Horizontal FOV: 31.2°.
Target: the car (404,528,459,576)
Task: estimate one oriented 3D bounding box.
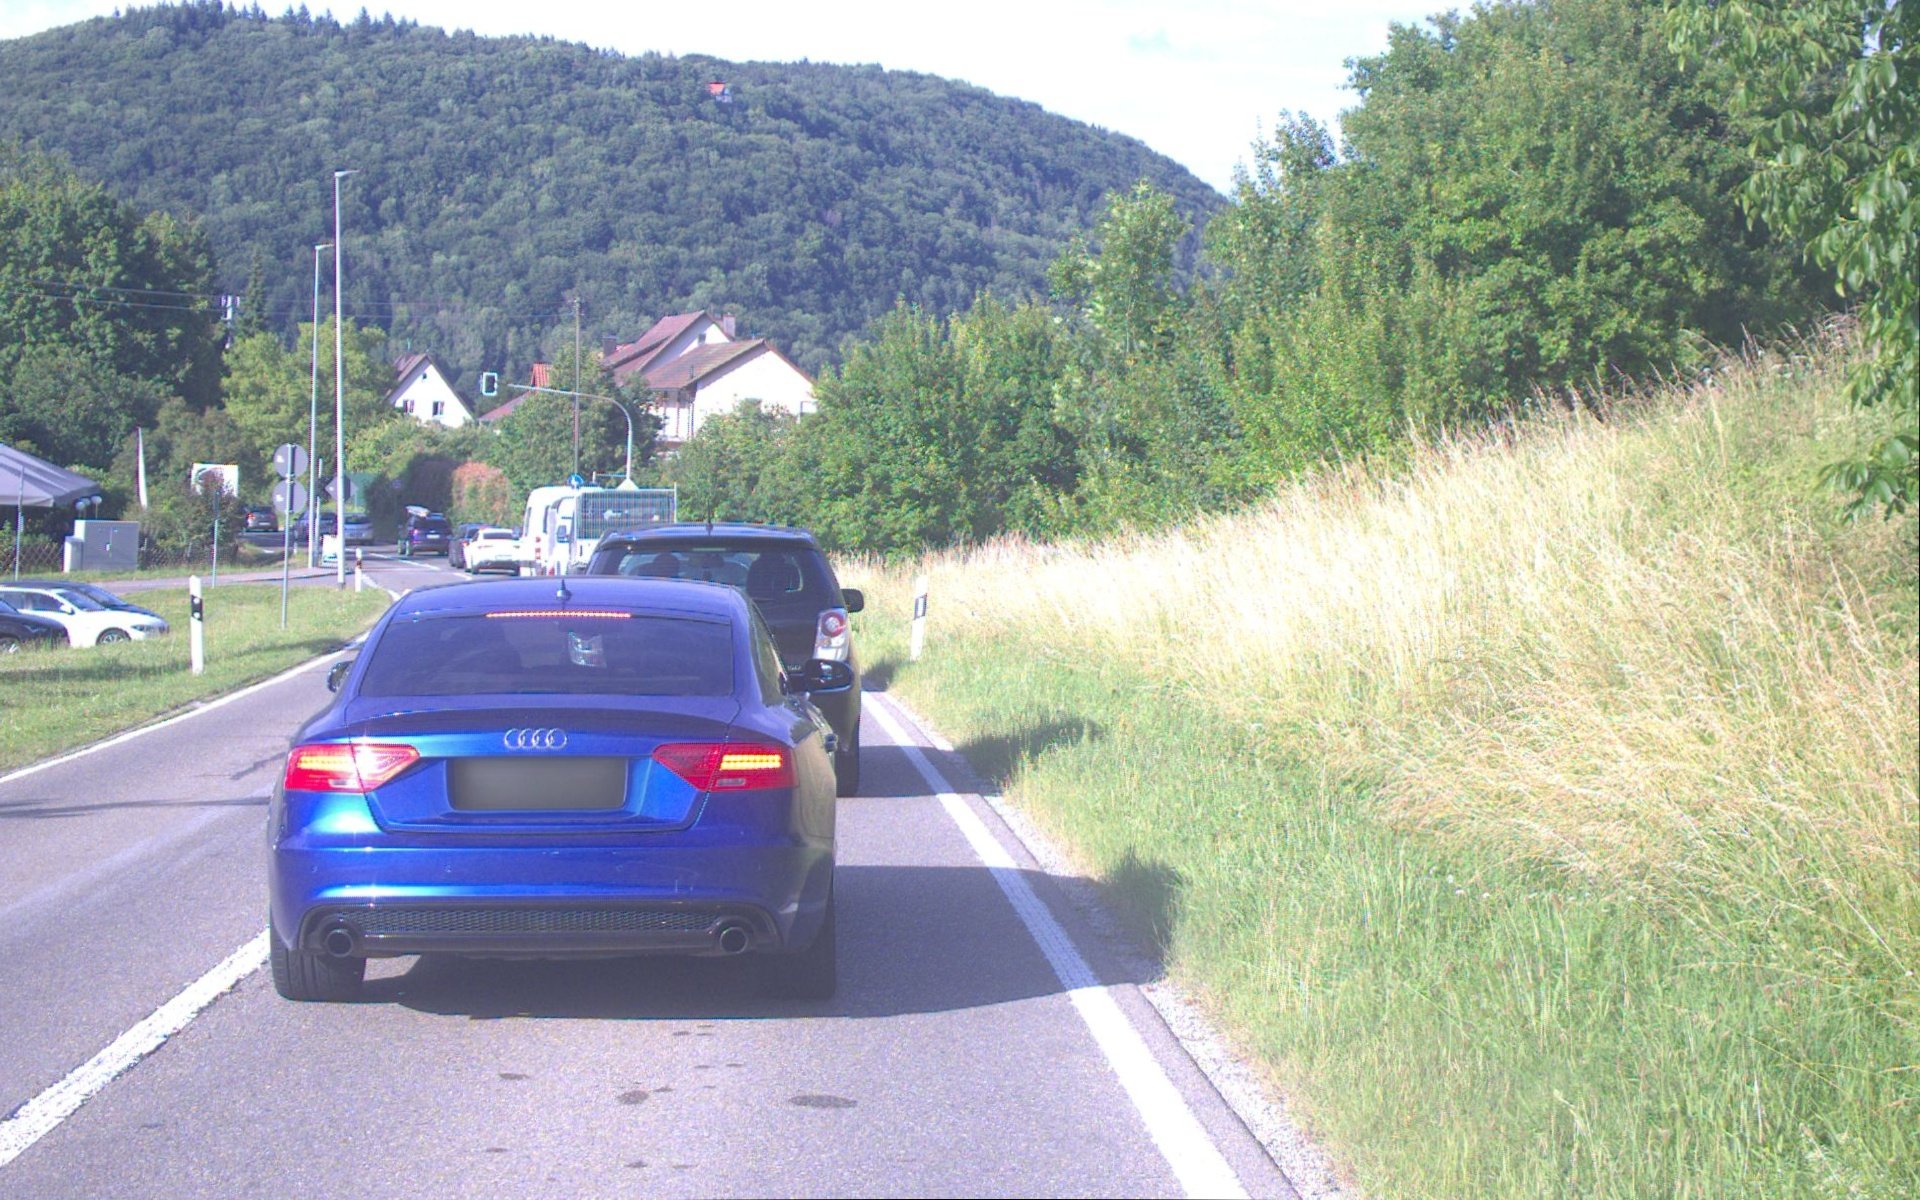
[{"bbox_3d":[-21.407,-1.945,139.196,1.676,1.918,4.001,-1,1,-16],"label":"car"}]

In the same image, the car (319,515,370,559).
[{"bbox_3d":[-28.142,-2.870,157.126,1.676,1.918,4.001,-1,1,-19],"label":"car"}]

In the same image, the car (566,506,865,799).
[{"bbox_3d":[-1.520,0.270,21.170,1.645,1.619,3.517,1,1,-5],"label":"car"}]

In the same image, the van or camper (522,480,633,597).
[{"bbox_3d":[-9.296,-1.476,83.135,2.280,2.704,5.769,-1,1,-10],"label":"van or camper"}]

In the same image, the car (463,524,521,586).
[{"bbox_3d":[-14.887,-1.428,109.172,1.659,1.918,4.001,-1,1,-10],"label":"car"}]

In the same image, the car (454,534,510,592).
[{"bbox_3d":[-16.224,-1.242,116.615,1.659,1.918,4.001,-1,1,-11],"label":"car"}]

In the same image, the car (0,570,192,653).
[{"bbox_3d":[-18.281,0.232,71.781,4.037,1.655,1.655,-1,1,8],"label":"car"}]

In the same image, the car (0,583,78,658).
[{"bbox_3d":[-19.340,0.415,67.242,3.713,1.434,1.509,-1,1,8],"label":"car"}]

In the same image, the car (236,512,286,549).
[{"bbox_3d":[-37.093,-3.675,182.479,1.954,1.918,4.001,-1,1,-21],"label":"car"}]

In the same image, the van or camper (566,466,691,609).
[{"bbox_3d":[-6.176,-1.141,63.560,2.051,2.497,5.813,-1,1,-8],"label":"van or camper"}]

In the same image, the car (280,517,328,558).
[{"bbox_3d":[-32.046,-3.035,167.879,1.676,1.918,4.001,-1,1,-20],"label":"car"}]

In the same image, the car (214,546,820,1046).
[{"bbox_3d":[-1.378,0.558,11.927,1.742,1.445,3.517,-1,1,-2],"label":"car"}]
